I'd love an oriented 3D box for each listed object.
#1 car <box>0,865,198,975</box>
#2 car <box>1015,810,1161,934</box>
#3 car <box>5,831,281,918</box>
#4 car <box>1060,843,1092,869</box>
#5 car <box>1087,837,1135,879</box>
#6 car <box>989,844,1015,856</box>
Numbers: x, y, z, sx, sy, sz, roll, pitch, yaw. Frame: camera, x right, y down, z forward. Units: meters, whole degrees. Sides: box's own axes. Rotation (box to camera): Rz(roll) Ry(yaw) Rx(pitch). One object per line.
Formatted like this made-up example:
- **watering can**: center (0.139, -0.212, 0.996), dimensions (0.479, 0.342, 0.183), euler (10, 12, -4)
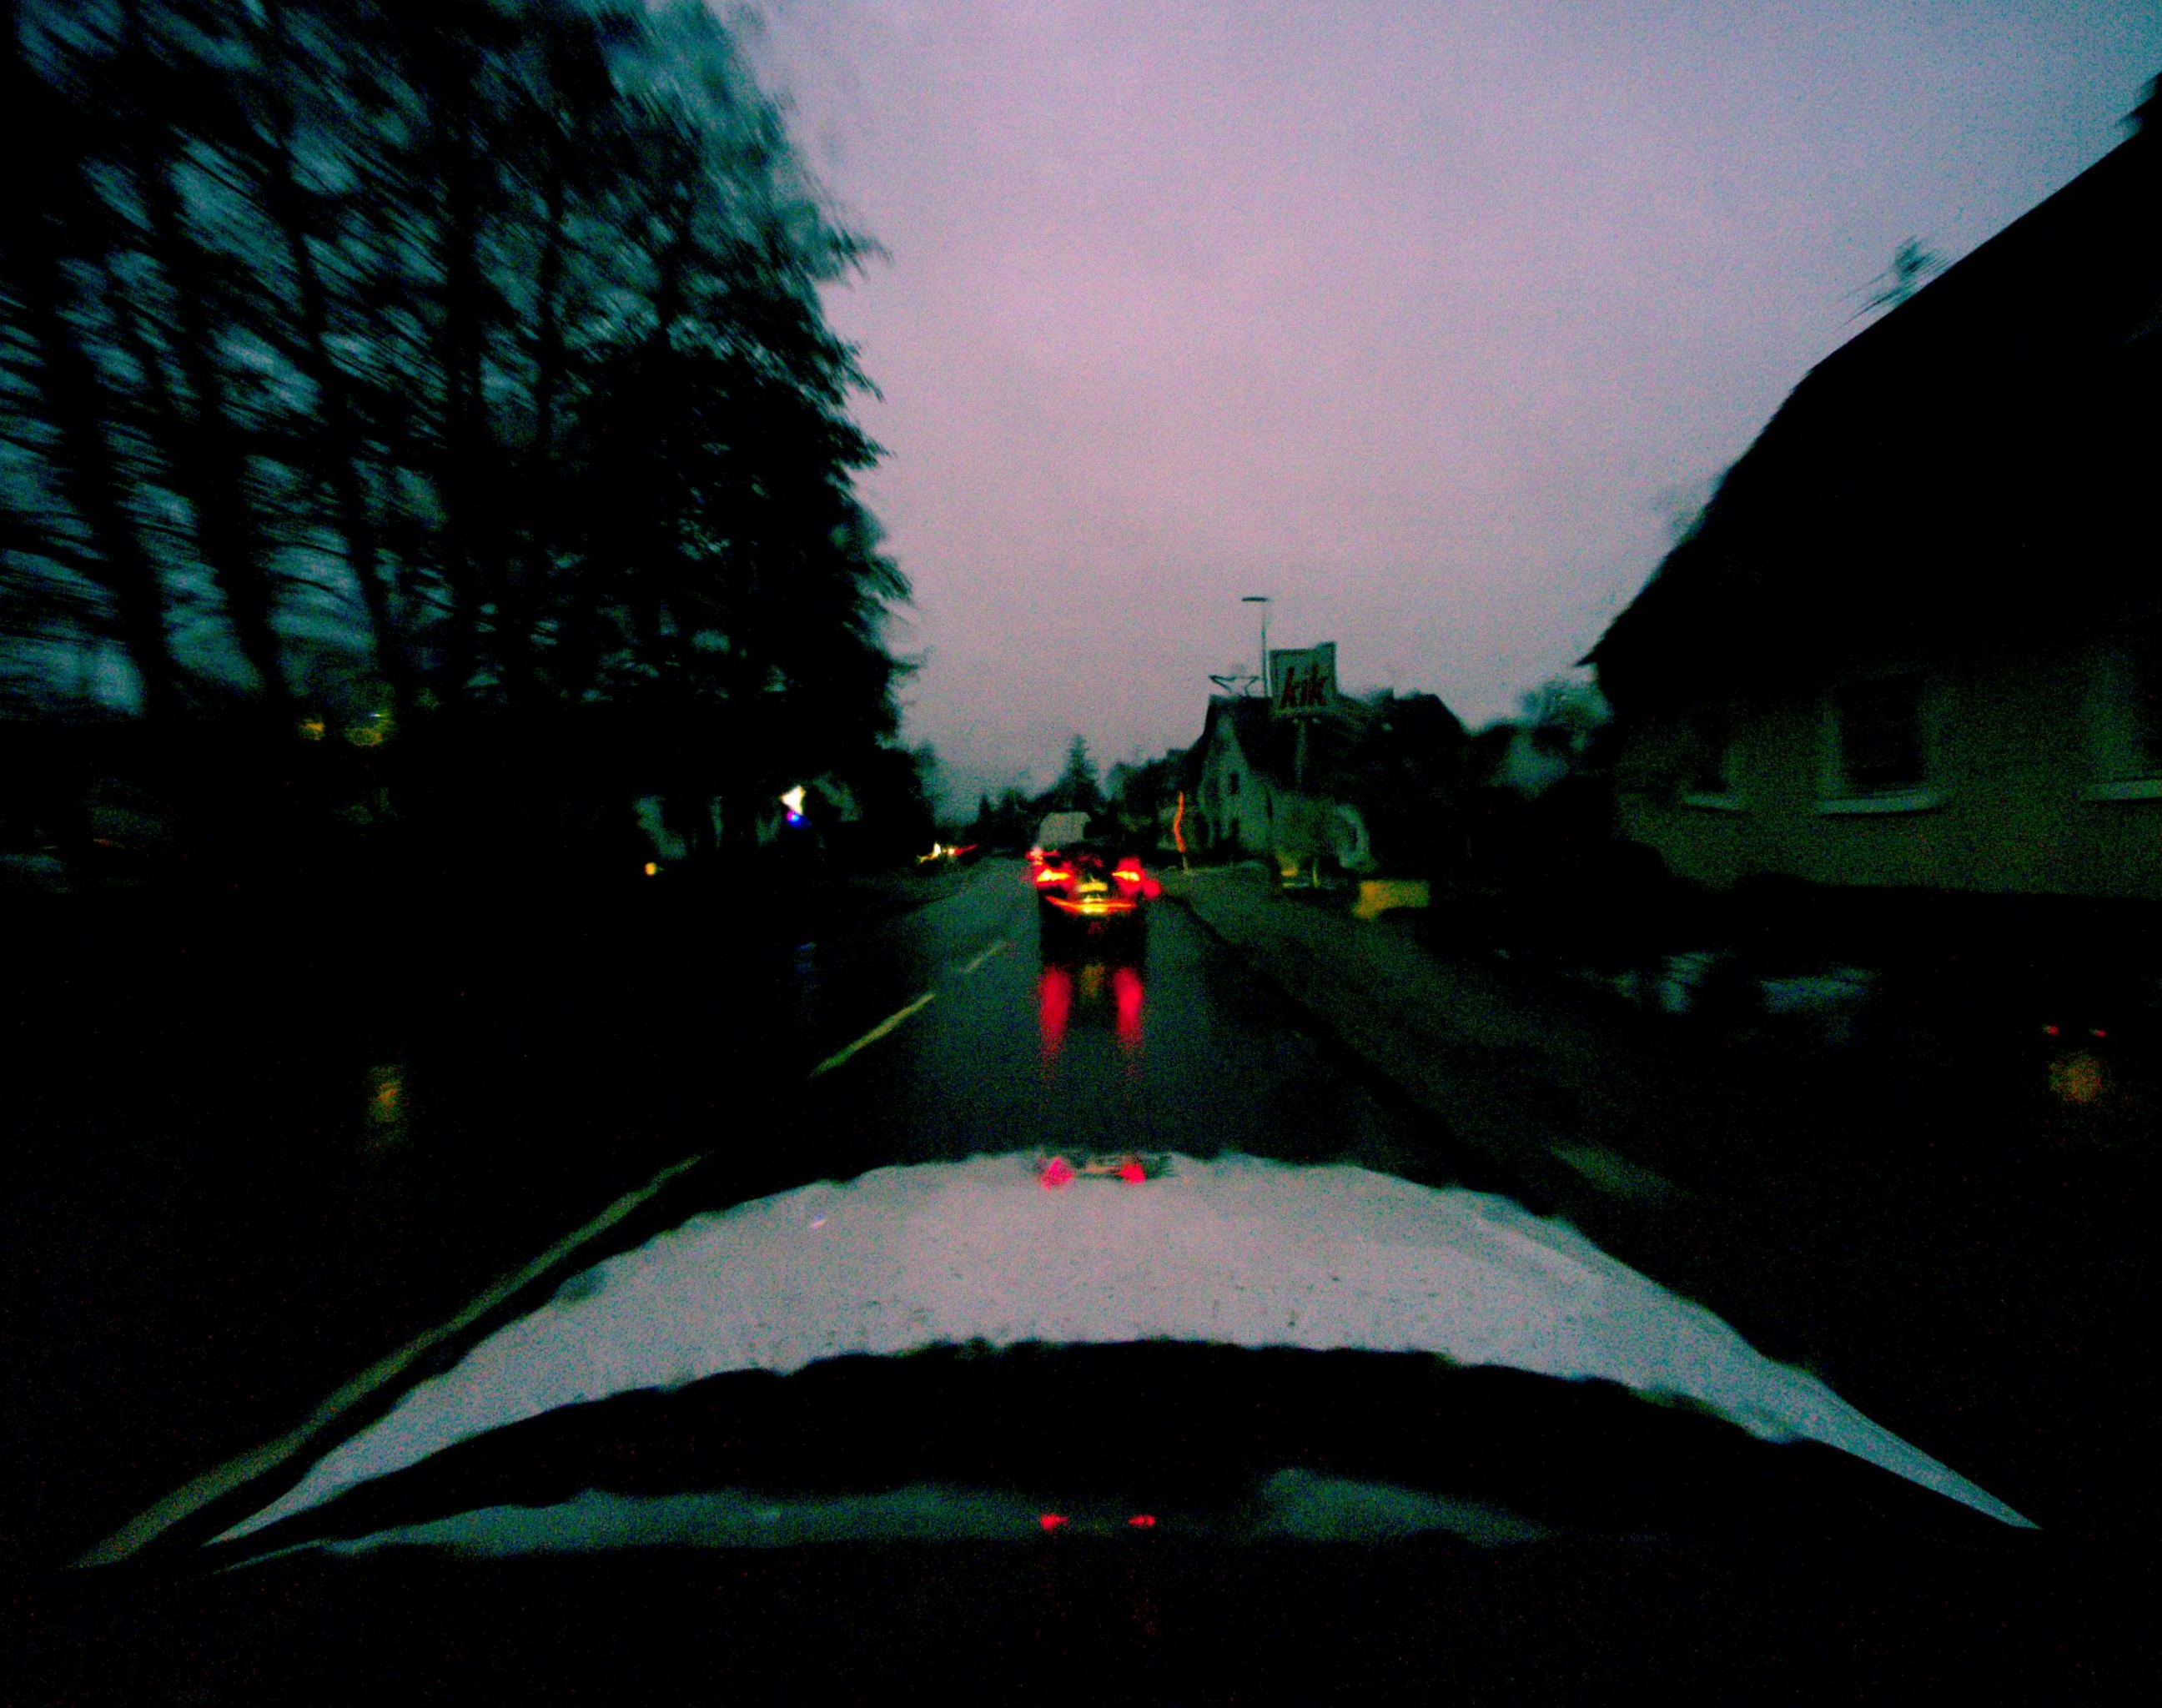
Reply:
- **car**: center (-21.390, 1.264, 16.311), dimensions (4.644, 1.976, 2.122), euler (1, 2, -9)
- **car**: center (0.172, 0.289, 15.567), dimensions (2.301, 1.938, 5.019), euler (-1, 0, 1)
- **car**: center (-27.903, 0.487, 24.622), dimensions (2.274, 2.278, 5.267), euler (1, 2, -2)
- **car**: center (-0.423, 0.174, 64.687), dimensions (2.304, 1.938, 5.013), euler (-1, 0, -3)
- **car**: center (1.210, 0.127, 33.491), dimensions (1.851, 1.647, 4.001), euler (0, 1, 1)
- **car**: center (-13.994, -0.645, 144.307), dimensions (4.249, 2.013, 1.804), euler (-2, 0, -12)
